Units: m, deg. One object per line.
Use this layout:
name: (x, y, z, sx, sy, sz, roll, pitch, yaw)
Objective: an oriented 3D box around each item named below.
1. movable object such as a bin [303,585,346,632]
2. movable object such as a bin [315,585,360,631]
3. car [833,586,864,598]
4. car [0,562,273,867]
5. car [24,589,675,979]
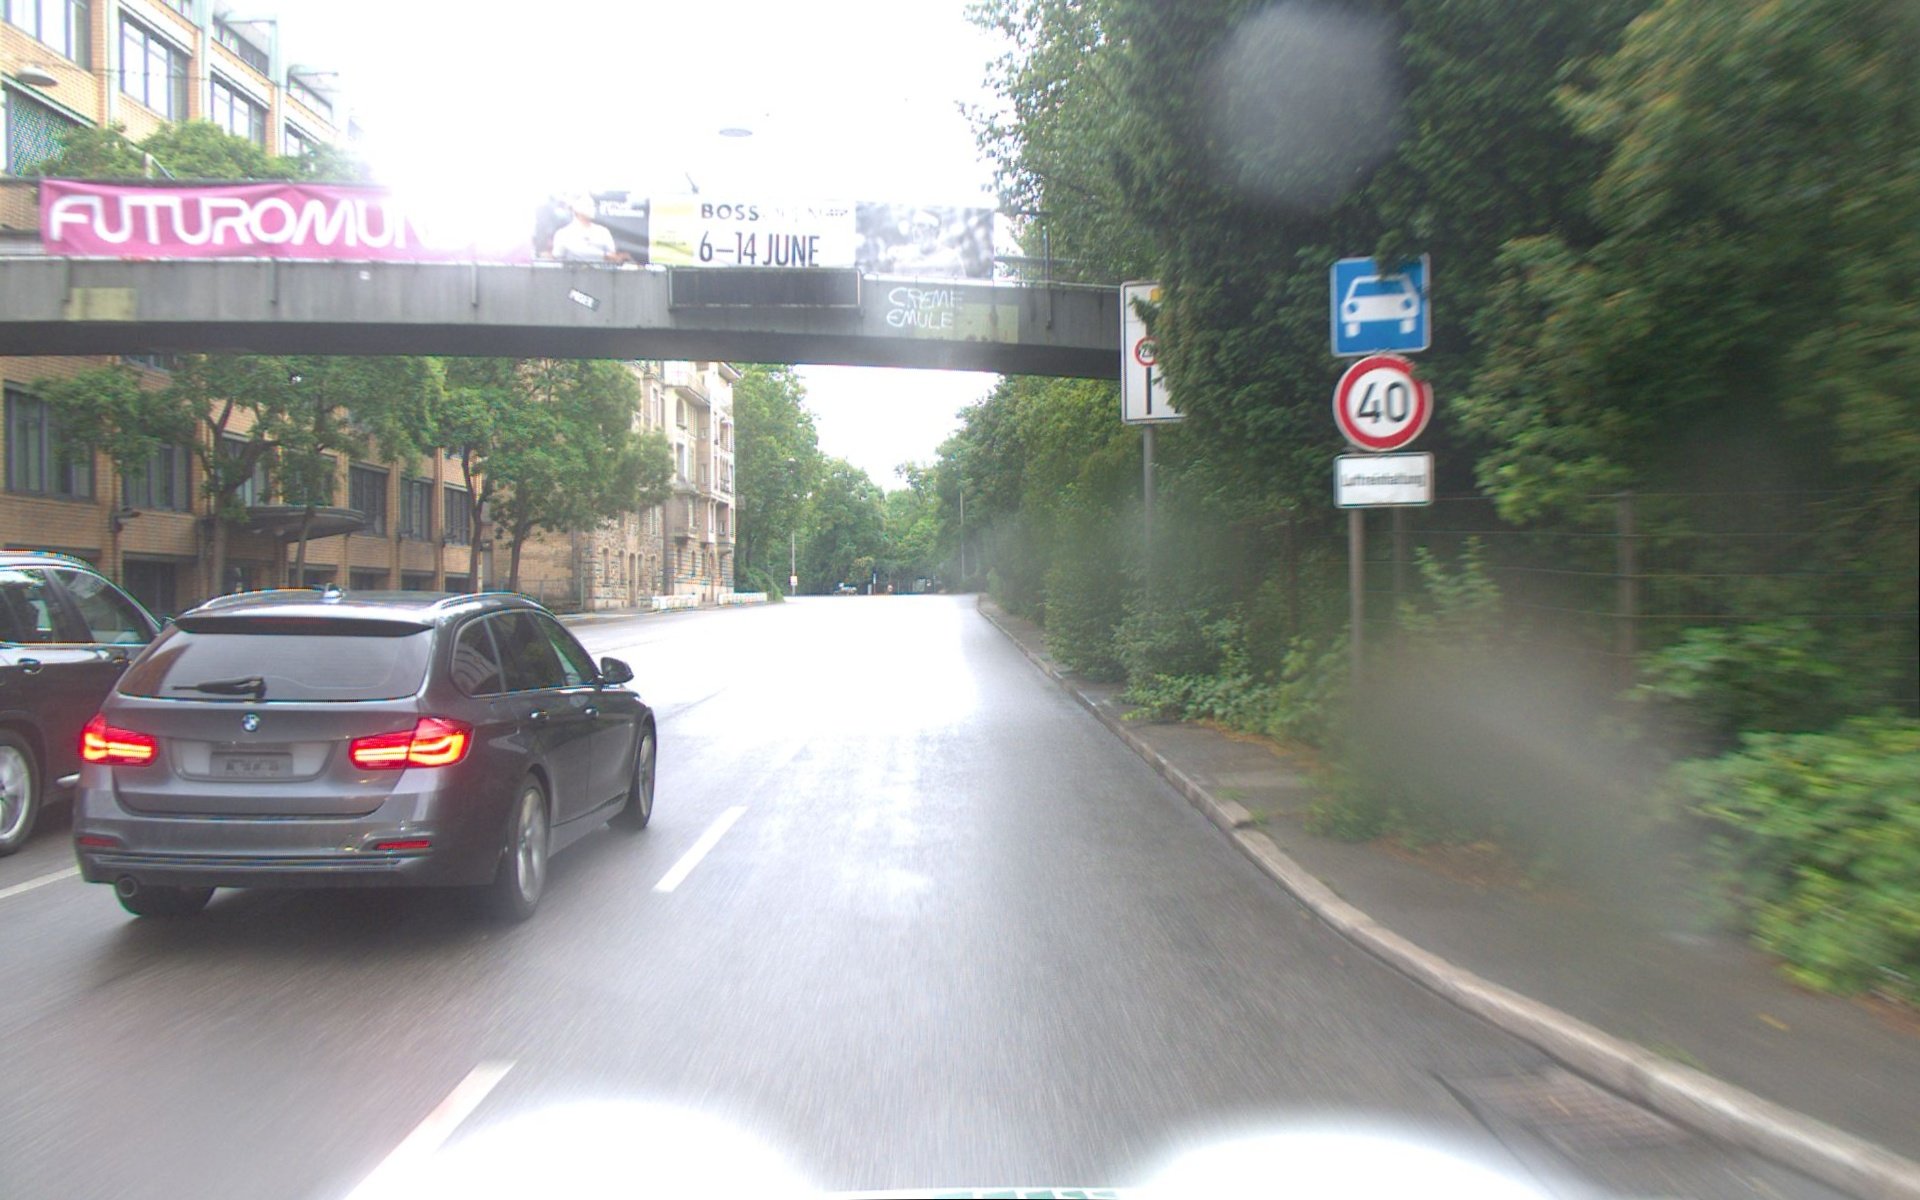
movable object such as a bin: (-20.519, 0.262, 53.410, 0.954, 1.461, 1.313, 1, 1, -5)
movable object such as a bin: (-20.607, 0.253, 54.761, 1.047, 1.461, 1.371, 1, 1, -5)
car: (-14.861, -1.101, 221.154, 4.296, 1.452, 1.681, 0, -3, 44)
car: (-5.944, 0.598, 10.061, 1.722, 1.613, 4.412, 0, 0, -1)
car: (-2.709, 0.687, 8.518, 1.722, 1.457, 4.412, 1, 0, -1)
